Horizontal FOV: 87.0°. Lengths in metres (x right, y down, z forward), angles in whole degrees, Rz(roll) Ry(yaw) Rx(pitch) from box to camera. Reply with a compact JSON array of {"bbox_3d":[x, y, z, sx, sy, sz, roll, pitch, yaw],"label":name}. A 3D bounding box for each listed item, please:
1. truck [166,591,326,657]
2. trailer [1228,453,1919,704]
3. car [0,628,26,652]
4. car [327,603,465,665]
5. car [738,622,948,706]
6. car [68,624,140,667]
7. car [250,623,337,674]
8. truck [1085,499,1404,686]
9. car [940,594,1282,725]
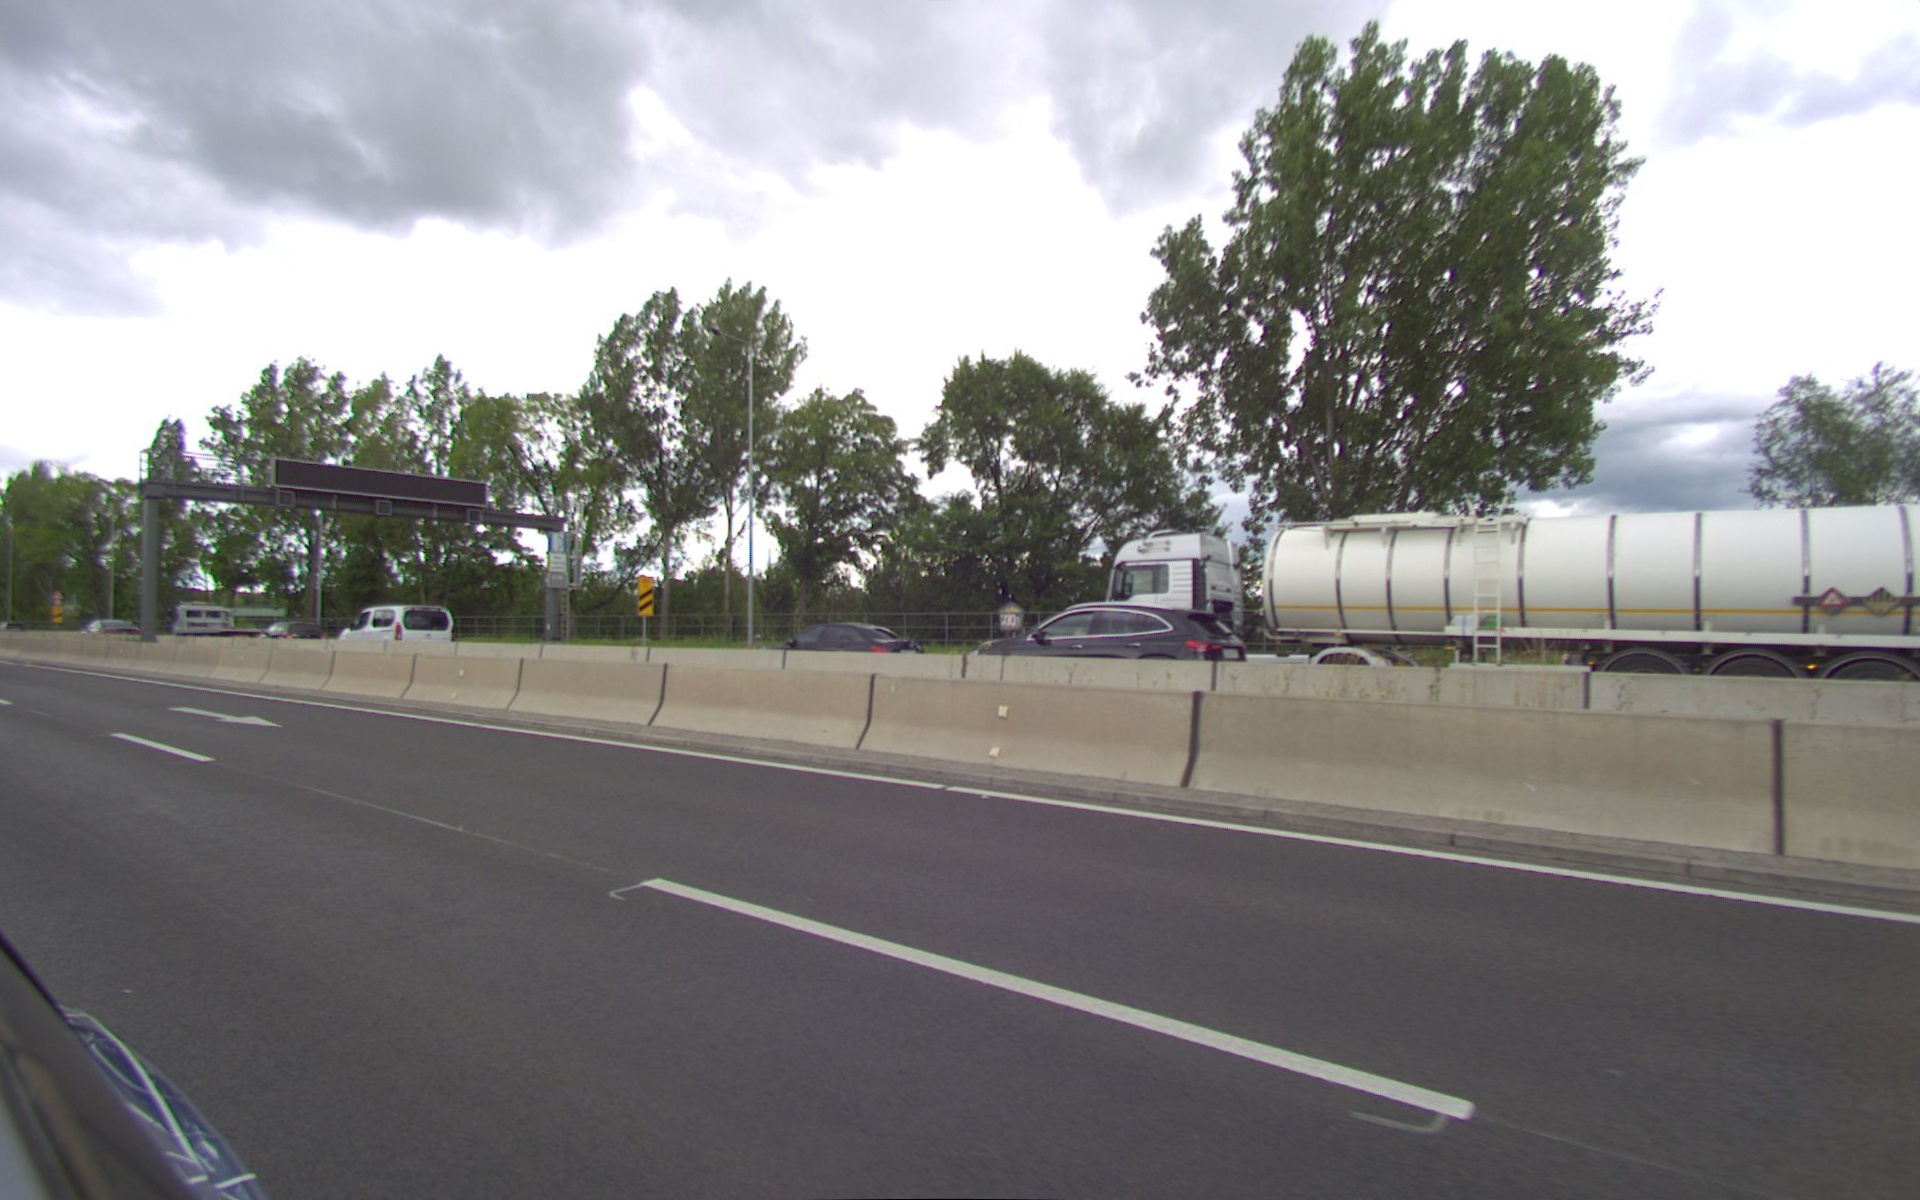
[{"bbox_3d":[-39.232,1.328,55.174,15.865,3.130,2.826,-2,0,39],"label":"truck"},{"bbox_3d":[10.549,-0.222,16.511,11.652,3.244,3.071,-2,0,38],"label":"trailer"},{"bbox_3d":[-85.581,3.555,90.932,3.997,2.029,1.973,-2,0,41],"label":"car"},{"bbox_3d":[-16.677,0.974,29.818,4.692,1.630,1.974,-2,0,40],"label":"car"},{"bbox_3d":[-2.696,1.353,22.682,4.692,1.630,1.974,-2,0,40],"label":"car"},{"bbox_3d":[-40.789,2.144,48.190,3.994,1.918,1.799,-2,0,38],"label":"car"},{"bbox_3d":[-28.549,2.045,43.316,3.996,2.029,1.974,-2,0,39],"label":"car"},{"bbox_3d":[5.658,-0.099,20.397,5.384,3.243,3.069,-2,0,38],"label":"truck"},{"bbox_3d":[2.127,0.803,15.098,4.692,1.630,1.974,-2,0,40],"label":"car"}]
